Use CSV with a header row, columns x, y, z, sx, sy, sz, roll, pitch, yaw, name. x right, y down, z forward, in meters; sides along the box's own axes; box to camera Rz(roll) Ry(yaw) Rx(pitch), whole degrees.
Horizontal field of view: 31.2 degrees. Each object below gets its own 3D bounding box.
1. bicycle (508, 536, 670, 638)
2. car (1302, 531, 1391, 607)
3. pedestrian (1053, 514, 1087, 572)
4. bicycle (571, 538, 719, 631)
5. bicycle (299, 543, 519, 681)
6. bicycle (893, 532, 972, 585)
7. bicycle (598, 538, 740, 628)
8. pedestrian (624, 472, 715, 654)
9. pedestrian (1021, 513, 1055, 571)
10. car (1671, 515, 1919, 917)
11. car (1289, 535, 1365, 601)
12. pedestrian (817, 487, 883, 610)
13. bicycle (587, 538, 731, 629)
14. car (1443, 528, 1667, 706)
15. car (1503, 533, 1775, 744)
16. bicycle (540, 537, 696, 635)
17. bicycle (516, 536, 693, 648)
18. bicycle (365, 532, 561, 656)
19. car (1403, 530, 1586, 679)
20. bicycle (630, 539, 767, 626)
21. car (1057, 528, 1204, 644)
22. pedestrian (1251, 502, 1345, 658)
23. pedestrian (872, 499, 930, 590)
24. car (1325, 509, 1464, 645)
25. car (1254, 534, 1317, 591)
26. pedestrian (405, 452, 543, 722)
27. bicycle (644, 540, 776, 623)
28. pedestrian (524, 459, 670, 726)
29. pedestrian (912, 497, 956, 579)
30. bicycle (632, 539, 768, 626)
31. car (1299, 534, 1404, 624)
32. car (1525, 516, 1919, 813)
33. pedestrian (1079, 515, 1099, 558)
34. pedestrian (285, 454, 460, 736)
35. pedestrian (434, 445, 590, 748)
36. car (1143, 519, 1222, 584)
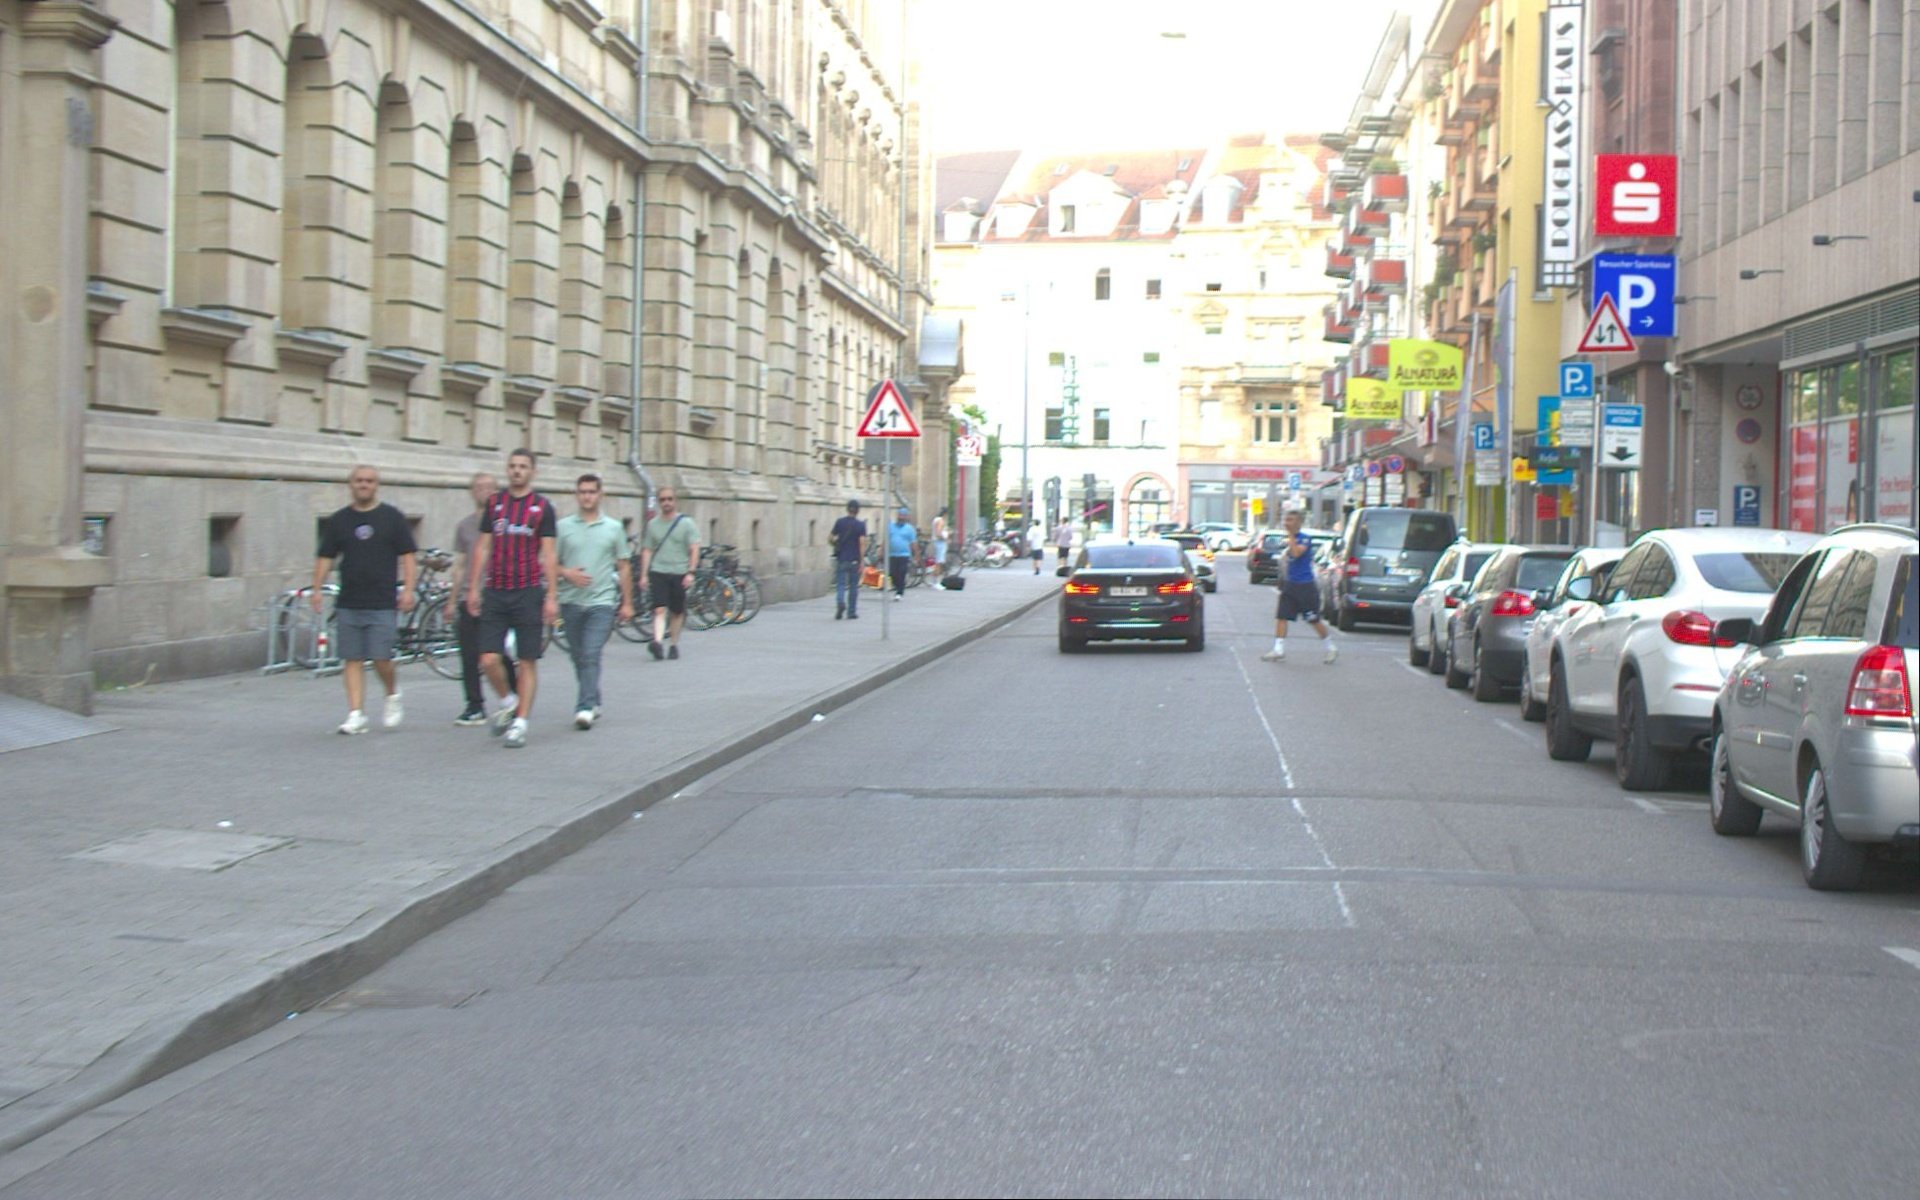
x,y,z,sx,sy,sz,roll,pitch,yaw,name
-4.106,-0.147,38.094,1.679,1.037,0.487,3,1,2,bicycle
8.287,-0.686,73.943,1.644,1.518,3.284,3,1,3,car
3.456,-1.798,108.314,0.933,1.746,0.810,4,1,0,pedestrian
-3.799,-0.190,41.454,1.679,1.037,0.487,3,1,2,bicycle
-4.537,0.093,28.343,1.680,1.037,0.487,3,1,9,bicycle
-0.613,-0.932,76.927,1.680,1.037,0.487,4,1,4,bicycle
-3.647,-0.212,43.140,1.679,1.037,0.487,3,1,2,bicycle
-2.898,-0.375,34.367,0.718,1.746,0.669,4,1,1,pedestrian
2.446,-1.807,107.813,0.933,1.746,0.810,4,1,0,pedestrian
4.579,0.464,16.073,1.770,1.630,4.052,3,1,3,car
9.083,-0.815,85.329,1.644,1.518,3.284,3,1,3,car
-1.616,-0.765,50.697,0.804,1.746,0.810,4,1,1,pedestrian
-3.734,-0.207,42.689,1.679,1.037,0.487,3,1,2,bicycle
5.597,0.118,32.662,1.644,1.518,3.284,3,1,3,car
5.429,0.261,27.837,1.644,1.518,3.284,3,1,3,car
-3.911,-0.162,39.353,1.679,1.037,0.487,3,1,2,bicycle
-3.583,-0.089,34.663,1.679,1.037,0.487,3,1,2,bicycle
-4.509,-0.053,31.176,1.679,1.037,0.487,2,1,-13,bicycle
5.985,0.016,38.762,1.644,1.518,3.284,3,1,3,car
-3.377,-0.227,44.458,1.679,1.037,0.487,3,1,2,bicycle
2.155,-0.204,43.514,1.770,1.404,4.052,0,1,3,car
3.920,-0.239,39.874,0.820,1.785,0.727,0,1,-21,pedestrian
-1.106,-1.037,64.378,0.933,1.631,0.654,4,1,1,pedestrian
6.964,-0.402,55.410,1.870,2.011,3.765,3,1,3,car
9.424,-1.095,99.705,1.644,1.518,3.284,3,1,3,car
-3.262,-0.093,23.136,0.689,1.746,0.722,4,1,1,pedestrian
-3.355,-0.252,46.210,1.679,1.037,0.487,3,1,2,bicycle
-2.481,-0.058,23.560,0.786,1.746,0.722,4,1,1,pedestrian
-0.573,-1.365,75.982,0.807,1.746,0.936,4,1,2,pedestrian
-3.392,-0.234,44.924,1.679,1.037,0.487,3,1,2,bicycle
7.141,-0.410,62.950,1.644,1.518,3.284,3,1,3,car
4.854,0.326,21.935,1.770,1.630,4.090,3,1,0,car
5.370,-2.630,143.294,0.665,1.746,0.681,4,1,0,pedestrian
-3.666,-0.042,21.523,0.797,1.669,0.975,4,1,1,pedestrian
-2.793,-0.033,21.511,0.697,1.806,0.975,4,1,1,pedestrian
5.408,-1.197,83.866,1.794,1.505,4.000,1,2,2,car
